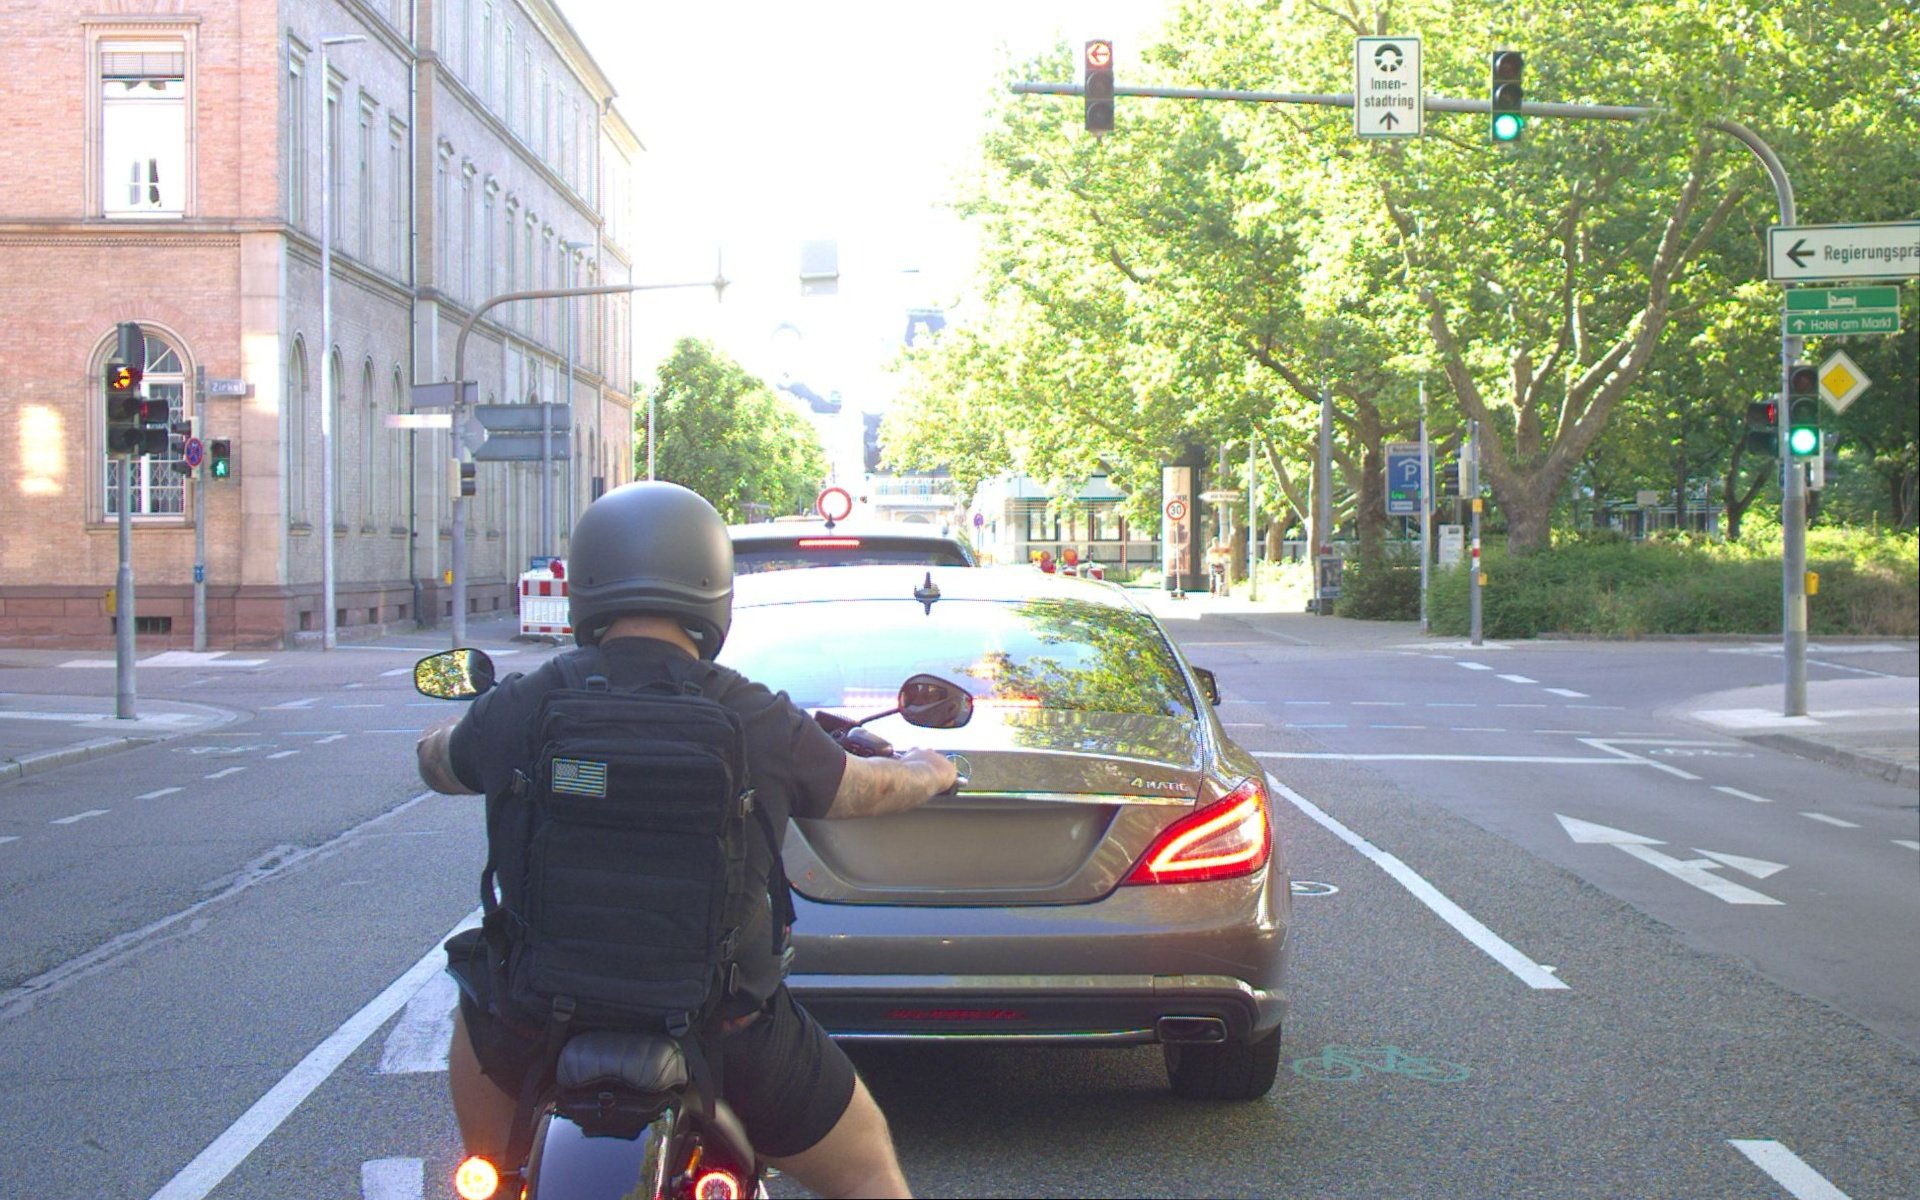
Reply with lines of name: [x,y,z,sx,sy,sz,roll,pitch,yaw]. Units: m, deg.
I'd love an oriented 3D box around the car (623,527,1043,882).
car: [-0.654,0.413,16.780,1.813,1.530,3.849,0,1,-3]

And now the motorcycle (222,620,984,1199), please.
motorcycle: [-0.473,0.734,5.549,0.962,1.352,2.320,1,1,-1]

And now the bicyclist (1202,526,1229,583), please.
bicyclist: [7.109,-1.261,95.575,0.716,1.577,0.936,1,0,4]

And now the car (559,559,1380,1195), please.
car: [-0.212,0.613,10.163,1.902,1.436,4.289,0,1,-7]

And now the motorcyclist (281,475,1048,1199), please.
motorcyclist: [-0.423,0.616,5.277,1.061,1.577,0.908,1,0,-1]

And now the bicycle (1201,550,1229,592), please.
bicycle: [7.094,-0.808,95.594,0.716,1.168,2.176,1,1,3]
